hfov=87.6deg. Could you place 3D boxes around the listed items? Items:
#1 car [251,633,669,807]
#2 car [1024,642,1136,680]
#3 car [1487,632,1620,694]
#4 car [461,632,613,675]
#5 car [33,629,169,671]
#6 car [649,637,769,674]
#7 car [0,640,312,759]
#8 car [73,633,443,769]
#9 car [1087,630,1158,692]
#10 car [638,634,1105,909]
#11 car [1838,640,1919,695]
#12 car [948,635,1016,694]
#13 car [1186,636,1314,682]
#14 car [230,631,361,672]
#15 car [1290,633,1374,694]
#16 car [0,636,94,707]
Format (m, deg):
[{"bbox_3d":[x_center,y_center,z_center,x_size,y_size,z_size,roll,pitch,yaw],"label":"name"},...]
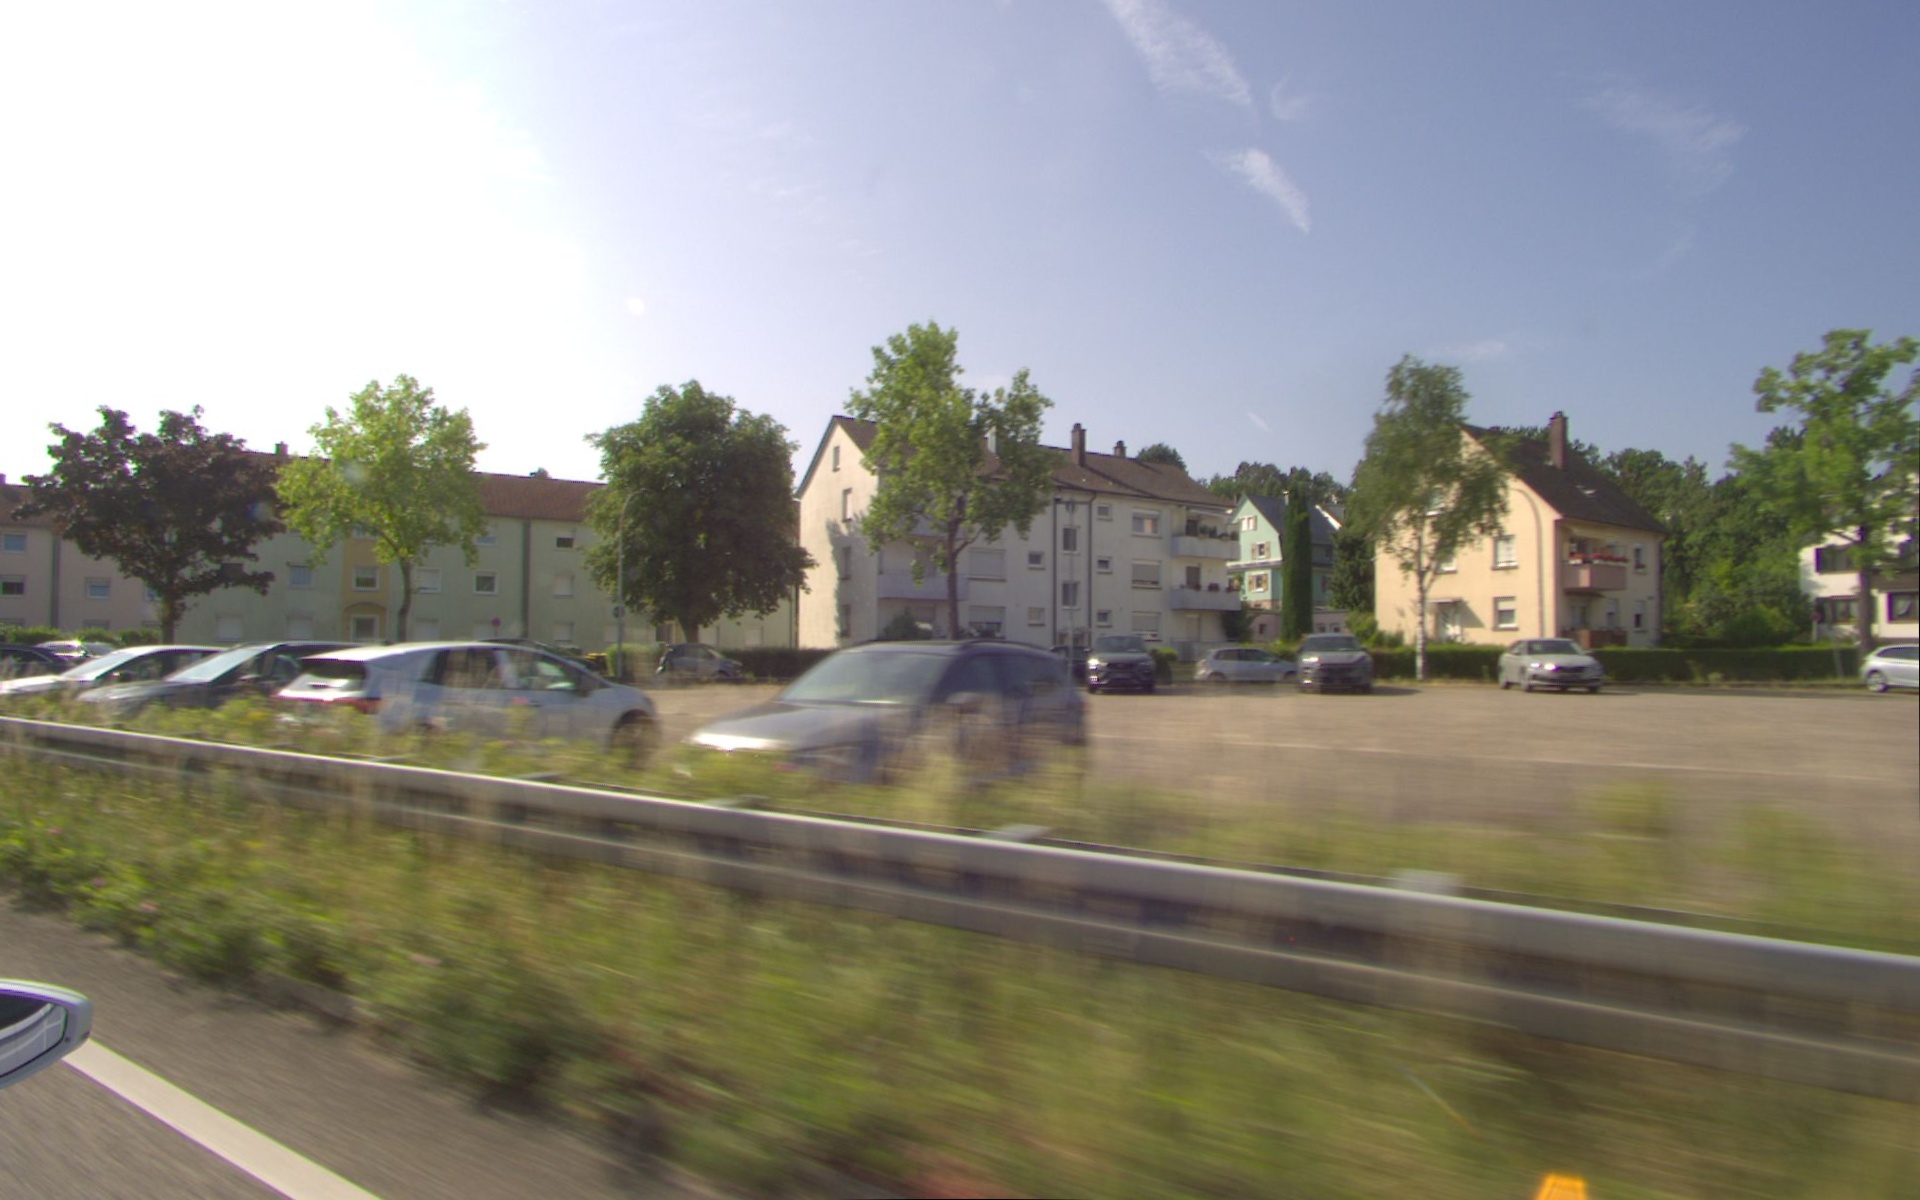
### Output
[{"bbox_3d":[-5.420,1.178,11.396,1.752,1.600,3.983,-1,-2,30],"label":"car"},{"bbox_3d":[3.917,2.002,33.109,3.591,1.201,1.595,0,-2,3],"label":"car"},{"bbox_3d":[16.084,1.654,27.438,1.961,1.541,4.757,-1,-2,16],"label":"car"},{"bbox_3d":[-14.409,1.806,34.217,4.437,1.423,1.915,-1,-2,7],"label":"car"},{"bbox_3d":[-30.728,1.771,35.868,3.592,1.423,1.710,1,-1,8],"label":"car"},{"bbox_3d":[-8.421,1.847,33.704,3.592,1.201,1.594,-1,-2,7],"label":"car"},{"bbox_3d":[-12.366,1.386,15.149,1.673,1.541,3.981,-1,-2,32],"label":"car"},{"bbox_3d":[-9.564,1.267,13.948,1.781,1.588,3.841,-1,-2,32],"label":"car"},{"bbox_3d":[4.573,1.668,28.444,1.806,1.620,4.498,0,-2,8],"label":"car"},{"bbox_3d":[-0.459,1.124,8.306,1.860,1.661,3.981,-1,-2,32],"label":"car"},{"bbox_3d":[28.192,1.942,28.749,1.894,1.477,4.753,-1,-1,3],"label":"car"},{"bbox_3d":[0.693,1.767,28.342,1.625,1.541,3.767,0,-2,6],"label":"car"},{"bbox_3d":[9.719,1.959,33.788,3.912,1.493,1.787,-1,-2,8],"label":"car"},{"bbox_3d":[-23.147,1.799,34.935,3.592,1.384,1.656,0,-2,7],"label":"car"},{"bbox_3d":[10.258,1.688,27.890,1.830,1.541,4.632,-1,-2,16],"label":"car"},{"bbox_3d":[-20.650,1.464,20.359,1.604,1.462,4.316,-1,-2,29],"label":"car"}]
